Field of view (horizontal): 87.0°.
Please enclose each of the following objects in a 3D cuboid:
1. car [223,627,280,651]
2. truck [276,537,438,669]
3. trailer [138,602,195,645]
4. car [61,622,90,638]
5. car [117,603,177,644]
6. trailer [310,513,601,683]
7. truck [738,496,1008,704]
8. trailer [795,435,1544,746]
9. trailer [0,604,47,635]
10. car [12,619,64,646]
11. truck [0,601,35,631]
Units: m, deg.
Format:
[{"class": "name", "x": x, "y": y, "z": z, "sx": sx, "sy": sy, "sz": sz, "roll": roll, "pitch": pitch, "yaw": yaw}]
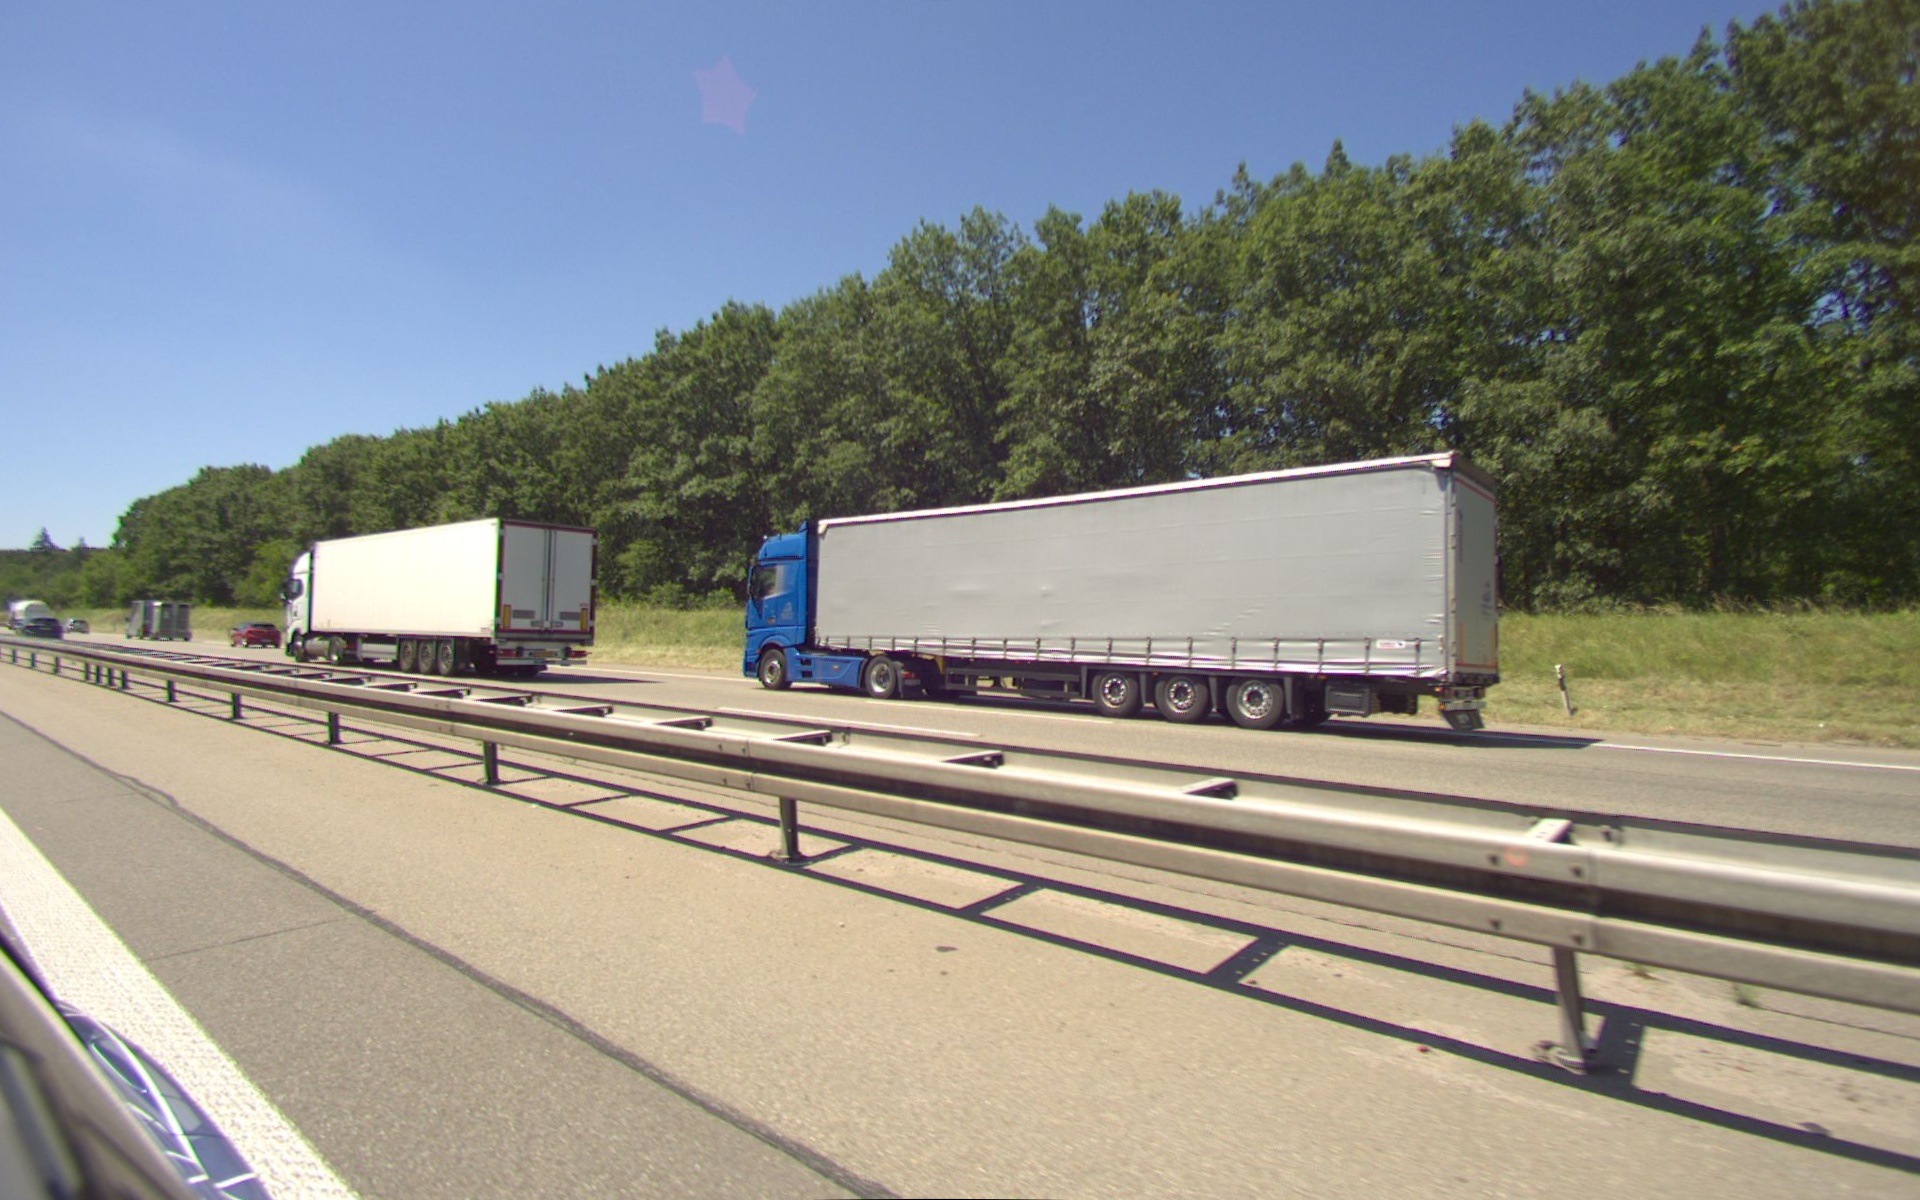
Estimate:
[{"class": "car", "x": -39.263, "y": 2.159, "z": 56.052, "sx": 4.130, "sy": 1.286, "sz": 1.622, "roll": -1, "pitch": -3, "yaw": 41}, {"class": "truck", "x": -20.231, "y": 0.182, "z": 33.832, "sx": 6.337, "sy": 4.020, "sz": 2.641, "roll": -1, "pitch": -3, "yaw": 41}, {"class": "trailer", "x": -55.563, "y": 1.668, "z": 70.847, "sx": 4.582, "sy": 2.880, "sz": 2.190, "roll": -1, "pitch": -3, "yaw": 41}, {"class": "car", "x": -88.295, "y": 2.999, "z": 101.051, "sx": 4.033, "sy": 1.476, "sz": 1.553, "roll": -1, "pitch": -3, "yaw": 40}, {"class": "car", "x": -59.798, "y": 1.767, "z": 74.417, "sx": 6.450, "sy": 2.880, "sz": 2.190, "roll": -1, "pitch": -3, "yaw": 41}, {"class": "trailer", "x": -15.073, "y": 0.097, "z": 29.297, "sx": 13.124, "sy": 4.020, "sz": 2.641, "roll": -1, "pitch": -3, "yaw": 41}, {"class": "truck", "x": -2.142, "y": 0.095, "z": 23.512, "sx": 6.185, "sy": 4.201, "sz": 2.641, "roll": -1, "pitch": -3, "yaw": 41}, {"class": "trailer", "x": 2.637, "y": 0.020, "z": 19.399, "sx": 14.588, "sy": 4.201, "sz": 2.641, "roll": -1, "pitch": -3, "yaw": 41}, {"class": "trailer", "x": -108.583, "y": 2.278, "z": 117.292, "sx": 11.794, "sy": 3.460, "sz": 2.654, "roll": -1, "pitch": -3, "yaw": 41}, {"class": "car", "x": -52.483, "y": 1.838, "z": 57.565, "sx": 4.622, "sy": 1.493, "sz": 1.600, "roll": -1, "pitch": -3, "yaw": 41}, {"class": "truck", "x": -113.546, "y": 1.956, "z": 121.684, "sx": 6.141, "sy": 3.460, "sz": 2.654, "roll": -1, "pitch": -3, "yaw": 41}]
